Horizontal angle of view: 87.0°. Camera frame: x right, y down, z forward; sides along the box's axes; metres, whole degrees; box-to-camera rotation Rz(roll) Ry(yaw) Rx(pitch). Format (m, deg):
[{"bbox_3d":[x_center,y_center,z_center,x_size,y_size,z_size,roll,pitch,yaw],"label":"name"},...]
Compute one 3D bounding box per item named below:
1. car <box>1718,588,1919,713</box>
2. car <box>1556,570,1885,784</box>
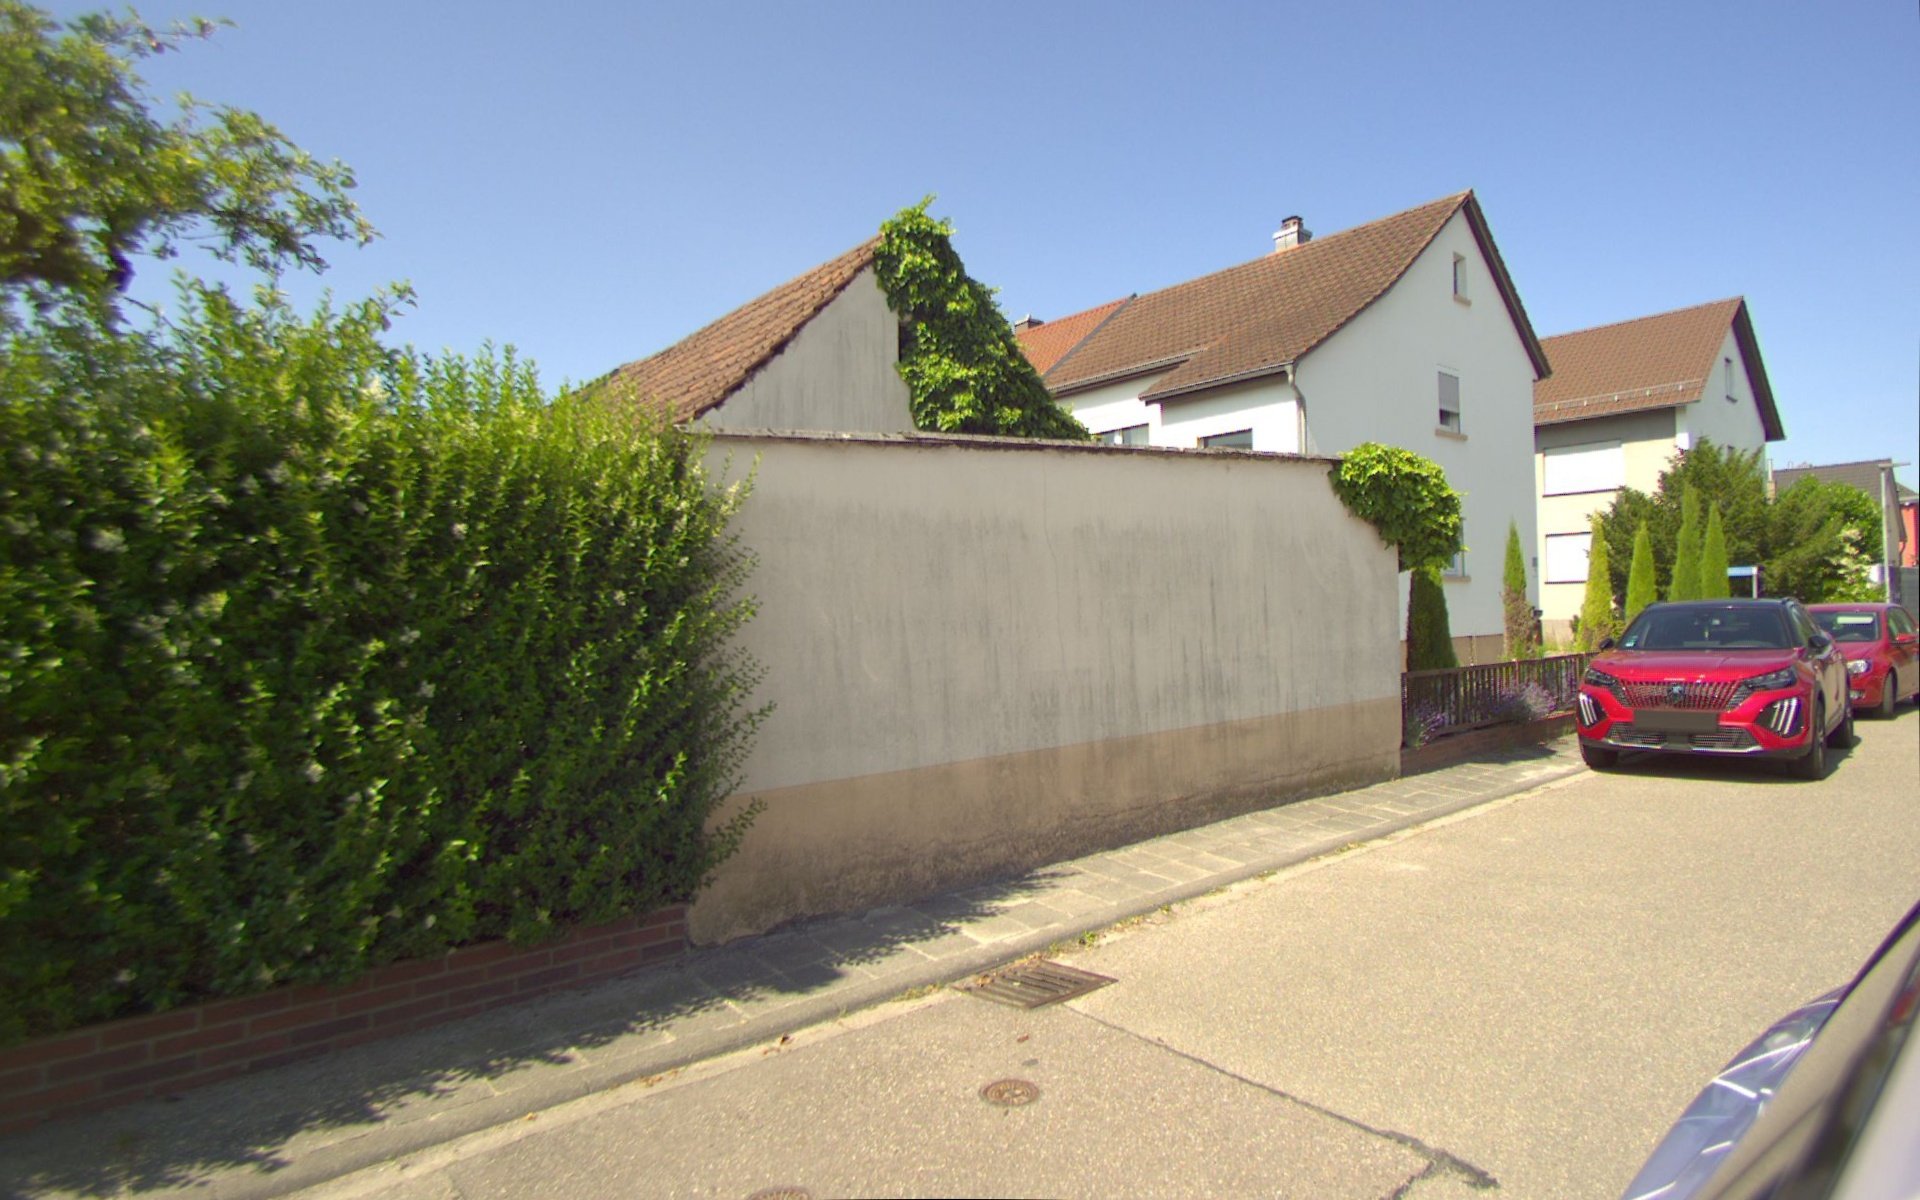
[{"bbox_3d":[12.348,0.625,14.086,3.926,1.498,1.779,-1,-2,-37],"label":"car"},{"bbox_3d":[7.449,0.598,9.771,3.933,1.636,1.824,-1,-2,-43],"label":"car"}]
